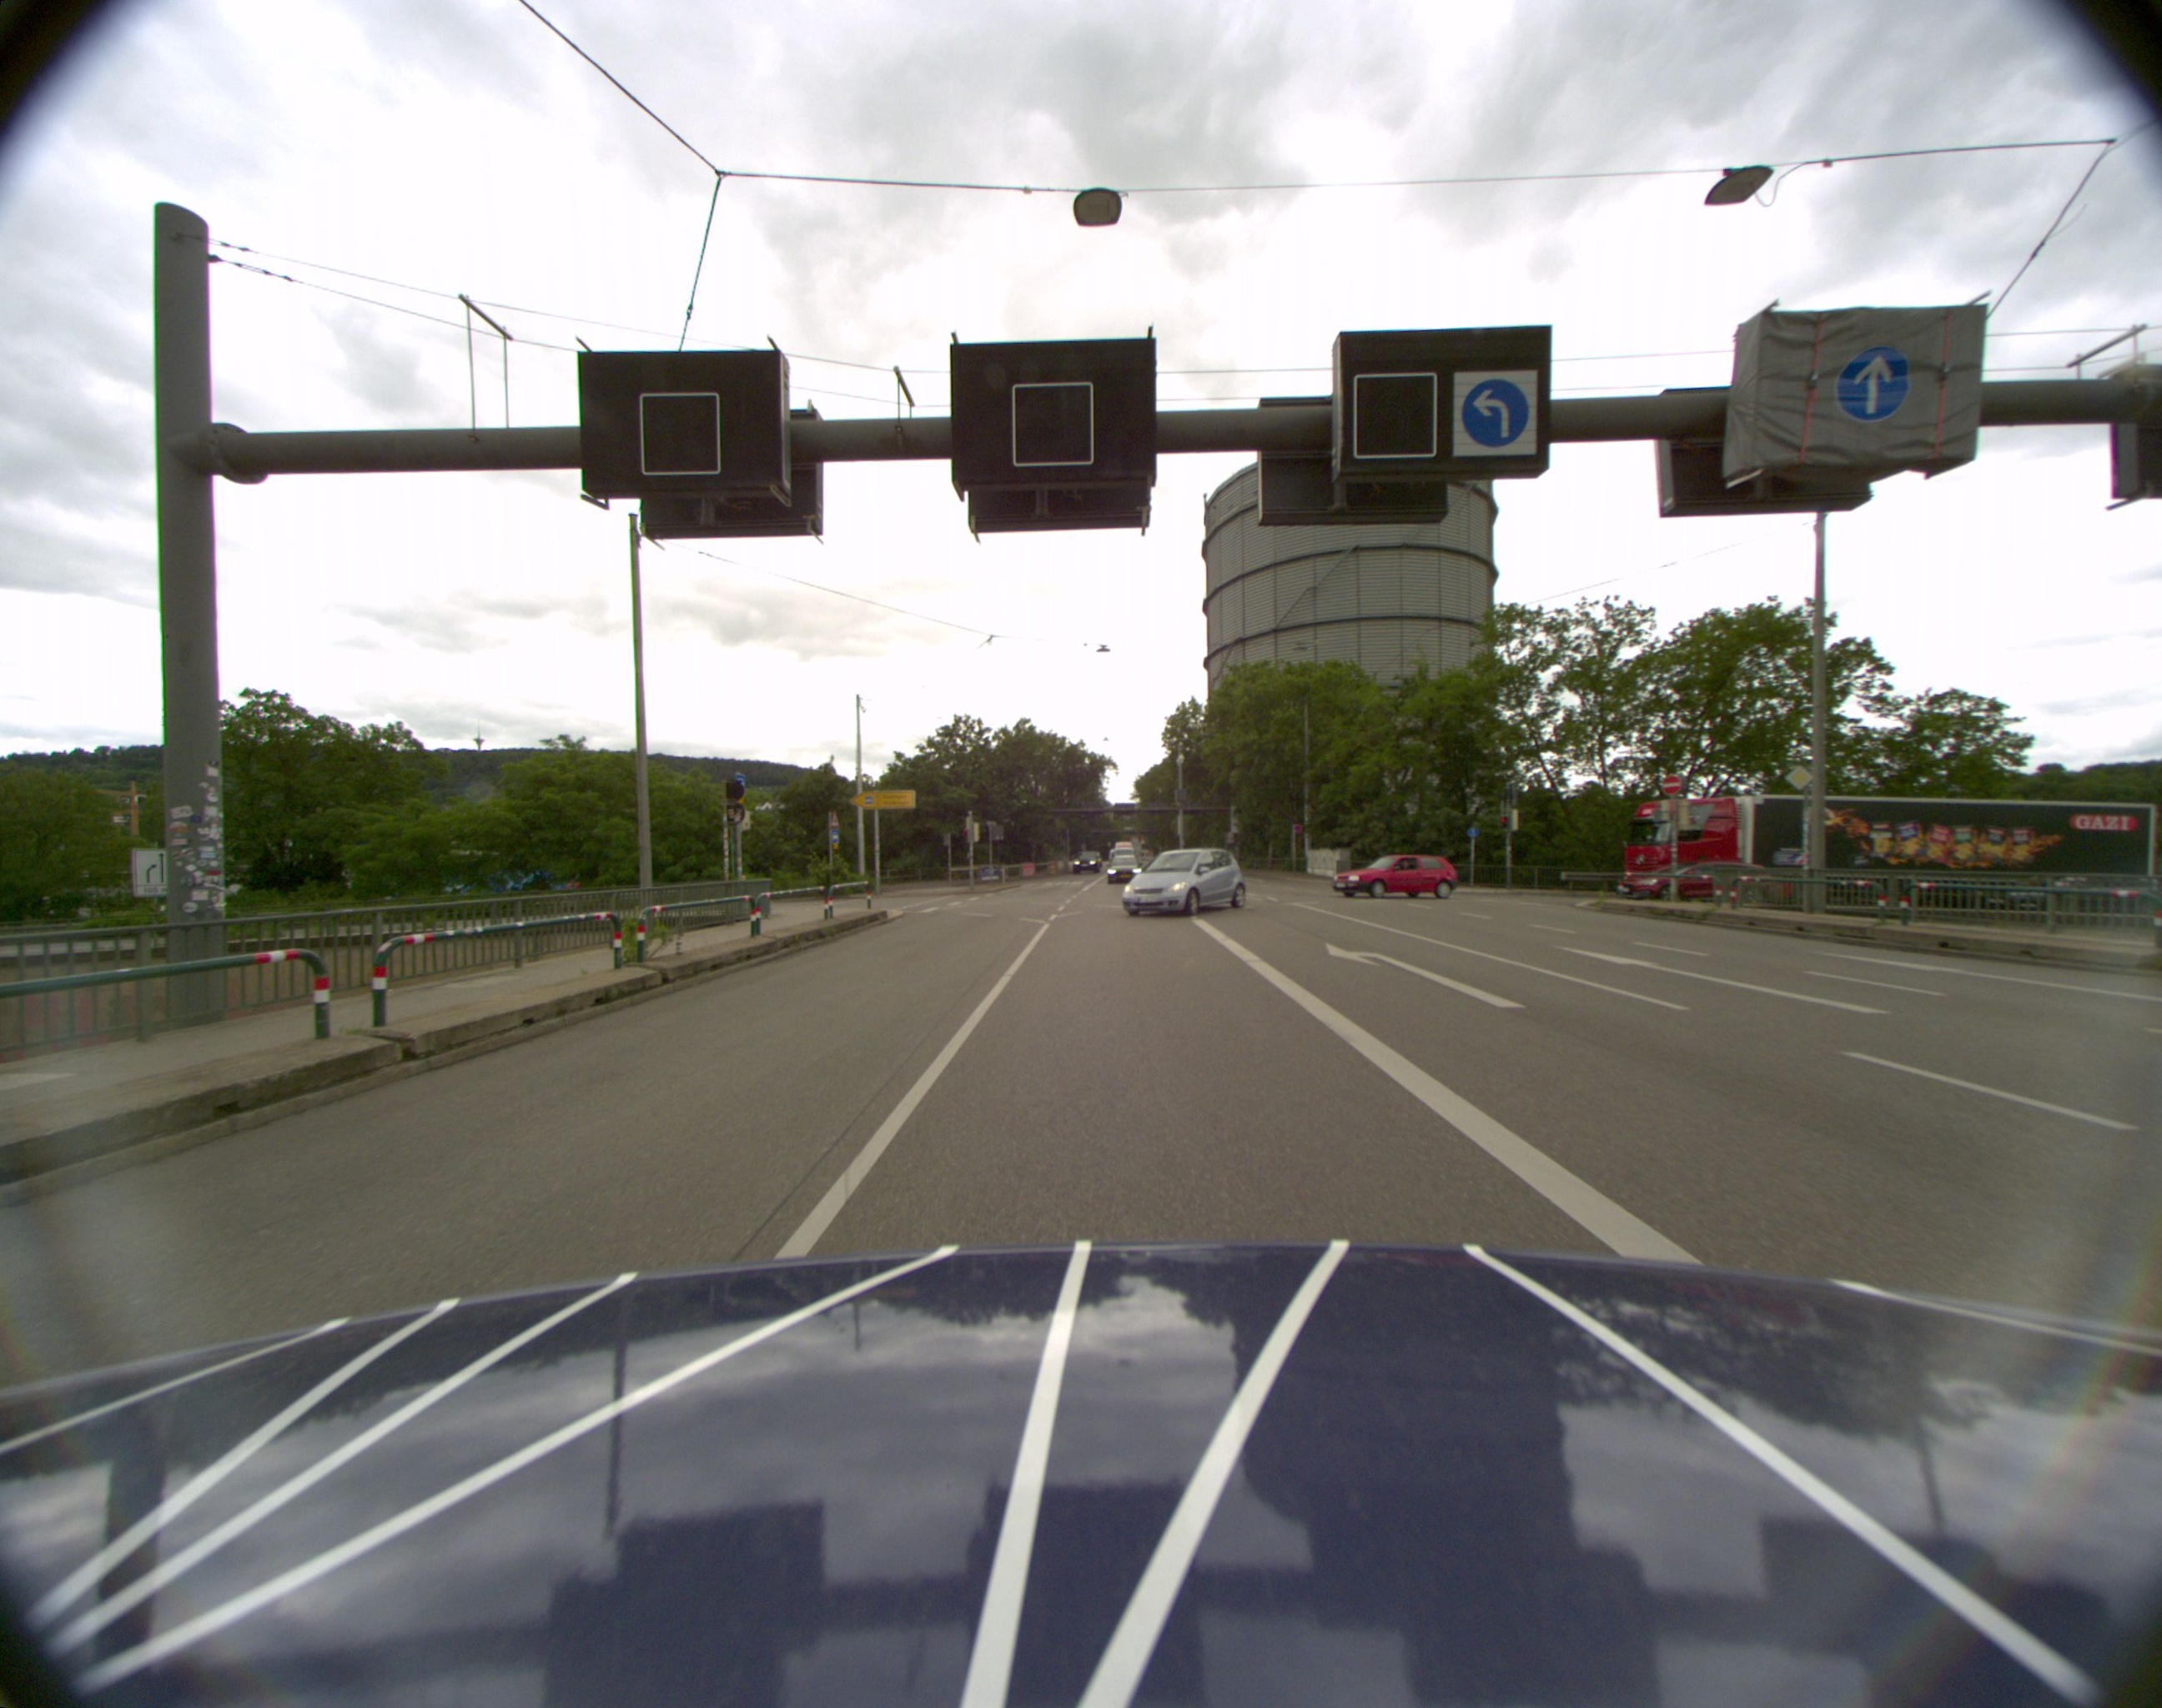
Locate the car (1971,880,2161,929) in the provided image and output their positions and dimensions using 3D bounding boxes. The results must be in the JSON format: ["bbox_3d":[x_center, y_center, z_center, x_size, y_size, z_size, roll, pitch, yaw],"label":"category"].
[{"bbox_3d":[32.492,1.622,24.841,4.462,1.412,1.698,1,0,5],"label":"car"}]

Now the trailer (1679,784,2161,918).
[{"bbox_3d":[31.158,-0.128,28.672,13.767,4.296,3.672,2,0,3],"label":"trailer"}]

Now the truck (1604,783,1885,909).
[{"bbox_3d":[24.973,-0.296,29.036,7.228,4.296,3.672,2,0,3],"label":"truck"}]

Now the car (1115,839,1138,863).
[{"bbox_3d":[4.996,-0.345,84.191,2.331,2.509,4.949,1,0,2],"label":"car"}]

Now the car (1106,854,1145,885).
[{"bbox_3d":[2.445,0.805,40.949,1.932,1.412,4.453,-2,1,5],"label":"car"}]

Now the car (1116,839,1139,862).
[{"bbox_3d":[4.111,-0.269,67.290,1.933,1.987,4.453,0,0,2],"label":"car"}]

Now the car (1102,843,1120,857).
[{"bbox_3d":[4.388,-0.551,109.355,2.330,1.905,5.401,0,2,5],"label":"car"}]

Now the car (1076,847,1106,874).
[{"bbox_3d":[0.830,0.491,62.096,2.331,1.905,4.947,0,2,2],"label":"car"}]

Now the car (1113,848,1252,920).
[{"bbox_3d":[2.618,0.691,19.006,1.743,1.594,3.691,2,0,39],"label":"car"}]

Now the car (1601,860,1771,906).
[{"bbox_3d":[20.565,0.963,25.936,4.464,1.412,1.697,-1,0,0],"label":"car"}]

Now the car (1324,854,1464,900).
[{"bbox_3d":[10.274,0.783,25.047,3.956,1.454,1.747,1,-2,-12],"label":"car"}]
